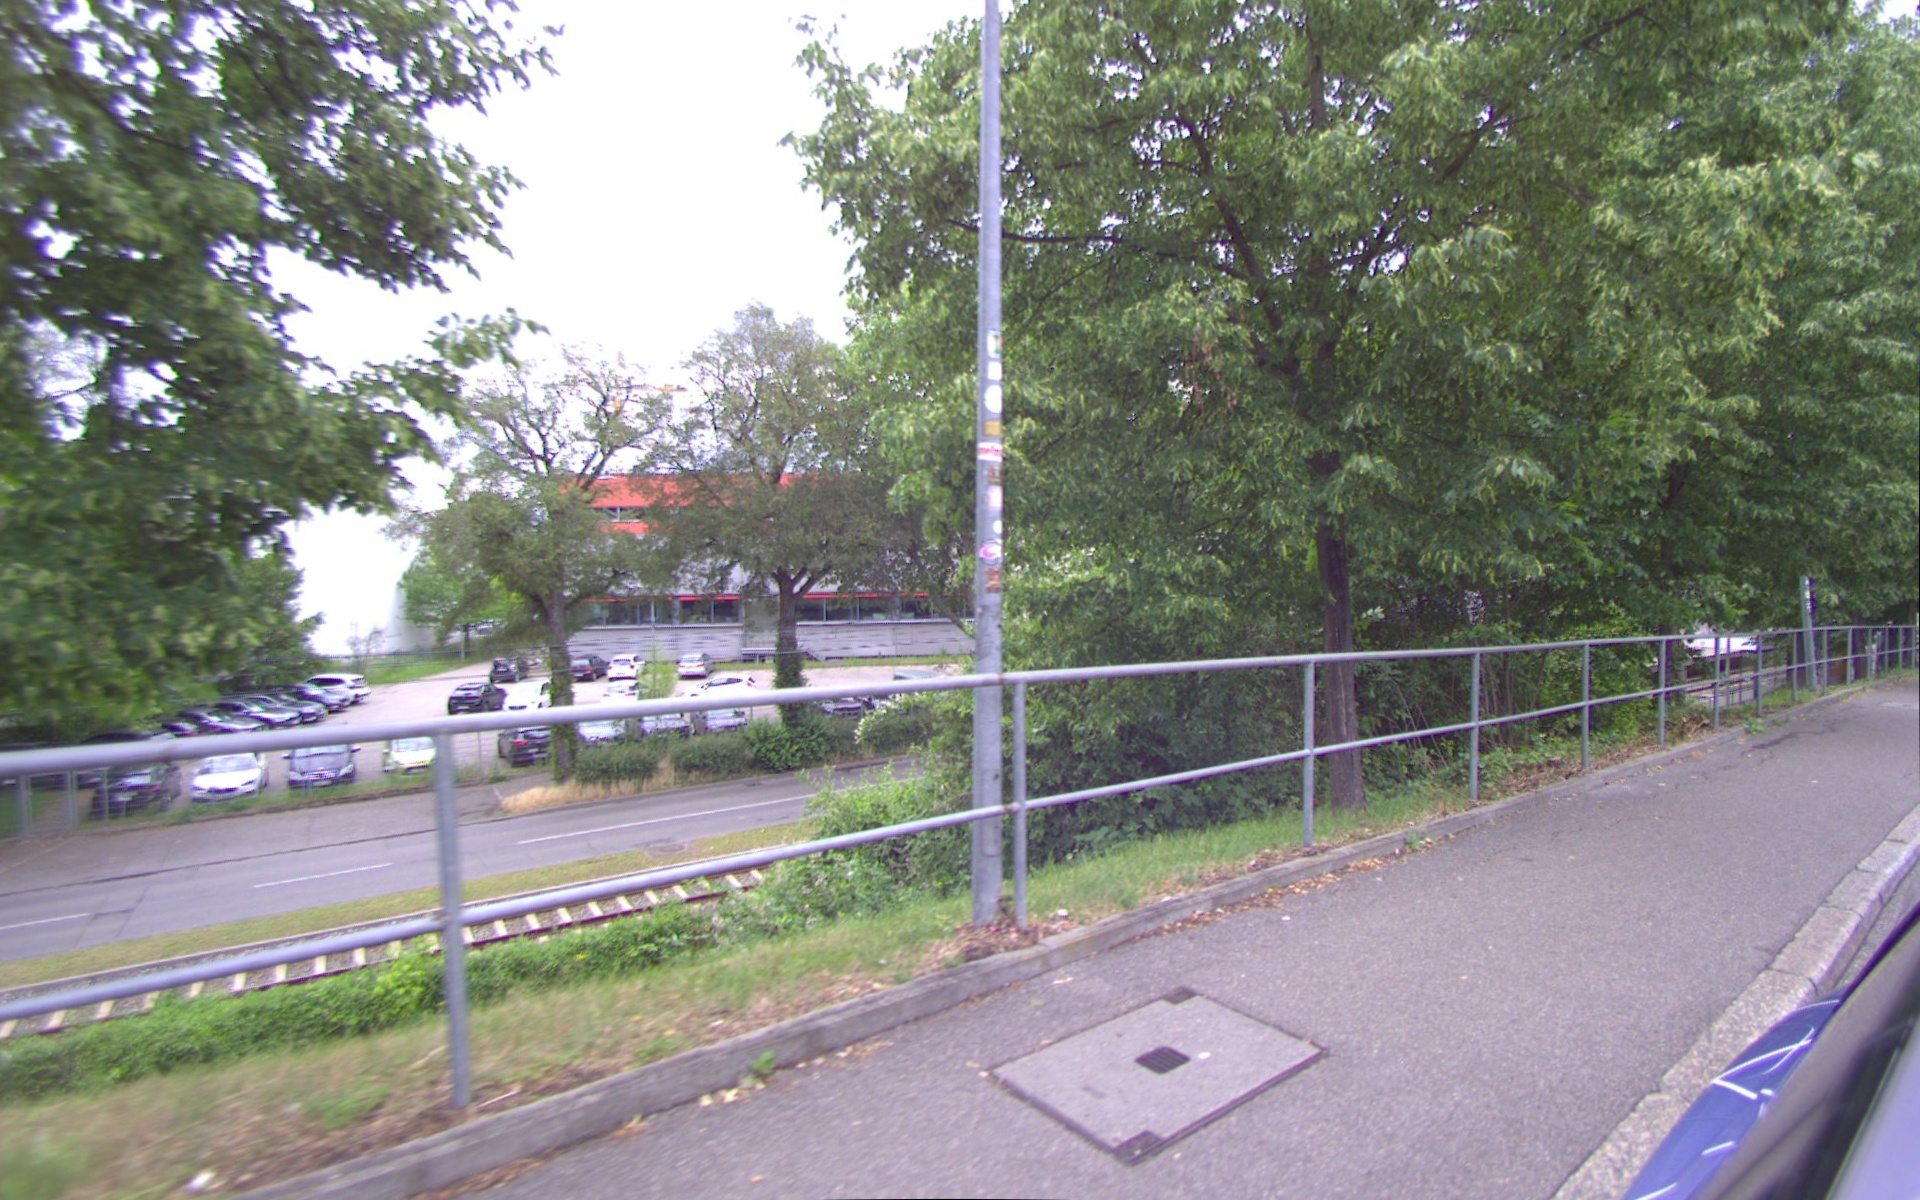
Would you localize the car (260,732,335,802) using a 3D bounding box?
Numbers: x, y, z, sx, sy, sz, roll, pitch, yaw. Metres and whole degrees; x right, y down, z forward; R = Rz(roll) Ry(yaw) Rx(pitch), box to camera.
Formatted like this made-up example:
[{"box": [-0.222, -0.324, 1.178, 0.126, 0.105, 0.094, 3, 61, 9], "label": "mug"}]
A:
[{"box": [-22.083, 5.492, 33.854, 1.961, 1.487, 4.346, 0, 1, -32], "label": "car"}]

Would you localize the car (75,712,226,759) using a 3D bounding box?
[{"box": [-32.135, 5.377, 40.315, 4.252, 1.487, 2.004, 0, 1, -12], "label": "car"}]

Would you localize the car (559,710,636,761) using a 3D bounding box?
[{"box": [-14.193, 5.219, 39.486, 1.961, 1.487, 4.344, 0, -2, -32], "label": "car"}]

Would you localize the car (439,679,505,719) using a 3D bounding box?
[{"box": [-24.343, 4.907, 50.643, 1.958, 1.487, 4.351, 0, 1, -11], "label": "car"}]

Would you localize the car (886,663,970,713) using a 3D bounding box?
[{"box": [-1.550, 4.050, 47.387, 1.960, 1.814, 4.586, 0, 1, -31], "label": "car"}]

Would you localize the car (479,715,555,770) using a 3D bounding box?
[{"box": [-16.484, 5.227, 37.545, 1.961, 1.487, 4.344, 0, -2, -32], "label": "car"}]

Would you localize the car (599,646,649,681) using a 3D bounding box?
[{"box": [-20.818, 3.924, 62.881, 1.960, 1.485, 4.352, 0, 5, -4], "label": "car"}]

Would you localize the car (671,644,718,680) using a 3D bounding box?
[{"box": [-16.506, 3.827, 63.066, 1.961, 1.485, 4.351, 0, 6, -2], "label": "car"}]

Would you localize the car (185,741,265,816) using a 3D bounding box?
[{"box": [-23.779, 5.718, 32.885, 1.790, 1.524, 4.346, 0, 1, -32], "label": "car"}]

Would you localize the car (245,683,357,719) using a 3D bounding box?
[{"box": [-32.588, 4.994, 50.166, 4.252, 1.487, 2.004, 0, 1, -12], "label": "car"}]

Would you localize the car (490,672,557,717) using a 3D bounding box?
[{"box": [-21.821, 4.694, 50.802, 1.959, 1.738, 4.349, 0, 1, -7], "label": "car"}]

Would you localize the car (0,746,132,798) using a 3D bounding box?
[{"box": [-31.872, 5.941, 35.149, 4.458, 1.419, 2.003, 0, 1, -6], "label": "car"}]

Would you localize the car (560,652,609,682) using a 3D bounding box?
[{"box": [-23.309, 4.116, 62.956, 1.959, 1.487, 4.350, 0, 1, -8], "label": "car"}]

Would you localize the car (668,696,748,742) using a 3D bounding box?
[{"box": [-10.521, 4.892, 42.049, 1.961, 1.487, 4.344, 0, -2, -32], "label": "car"}]

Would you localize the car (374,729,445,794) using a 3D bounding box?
[{"box": [-19.574, 5.654, 35.875, 1.961, 1.487, 4.346, 0, 1, -32], "label": "car"}]

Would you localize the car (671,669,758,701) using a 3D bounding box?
[{"box": [-12.785, 4.421, 52.954, 4.255, 1.487, 2.003, 0, 1, -7], "label": "car"}]

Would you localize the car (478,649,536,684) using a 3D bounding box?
[{"box": [-28.186, 4.111, 63.111, 1.960, 1.485, 4.352, 1, 5, -5], "label": "car"}]

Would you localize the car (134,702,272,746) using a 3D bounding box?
[{"box": [-32.192, 5.260, 43.171, 4.252, 1.487, 2.004, 0, 1, -12], "label": "car"}]

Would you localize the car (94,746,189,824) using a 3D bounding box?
[{"box": [-25.598, 5.718, 31.784, 1.790, 1.524, 4.346, 0, 1, -32], "label": "car"}]

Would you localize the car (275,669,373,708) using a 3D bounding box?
[{"box": [-33.479, 4.632, 53.382, 3.919, 1.833, 2.002, 0, 1, -5], "label": "car"}]

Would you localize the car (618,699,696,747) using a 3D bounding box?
[{"box": [-12.252, 4.895, 40.765, 1.961, 1.487, 4.344, 0, -2, -32], "label": "car"}]

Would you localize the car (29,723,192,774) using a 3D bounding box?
[{"box": [-31.766, 5.524, 37.974, 4.252, 1.487, 2.004, 0, 1, -12], "label": "car"}]

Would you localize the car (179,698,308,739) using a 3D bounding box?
[{"box": [-32.040, 5.283, 45.389, 4.252, 1.487, 2.004, 0, 1, -12], "label": "car"}]
